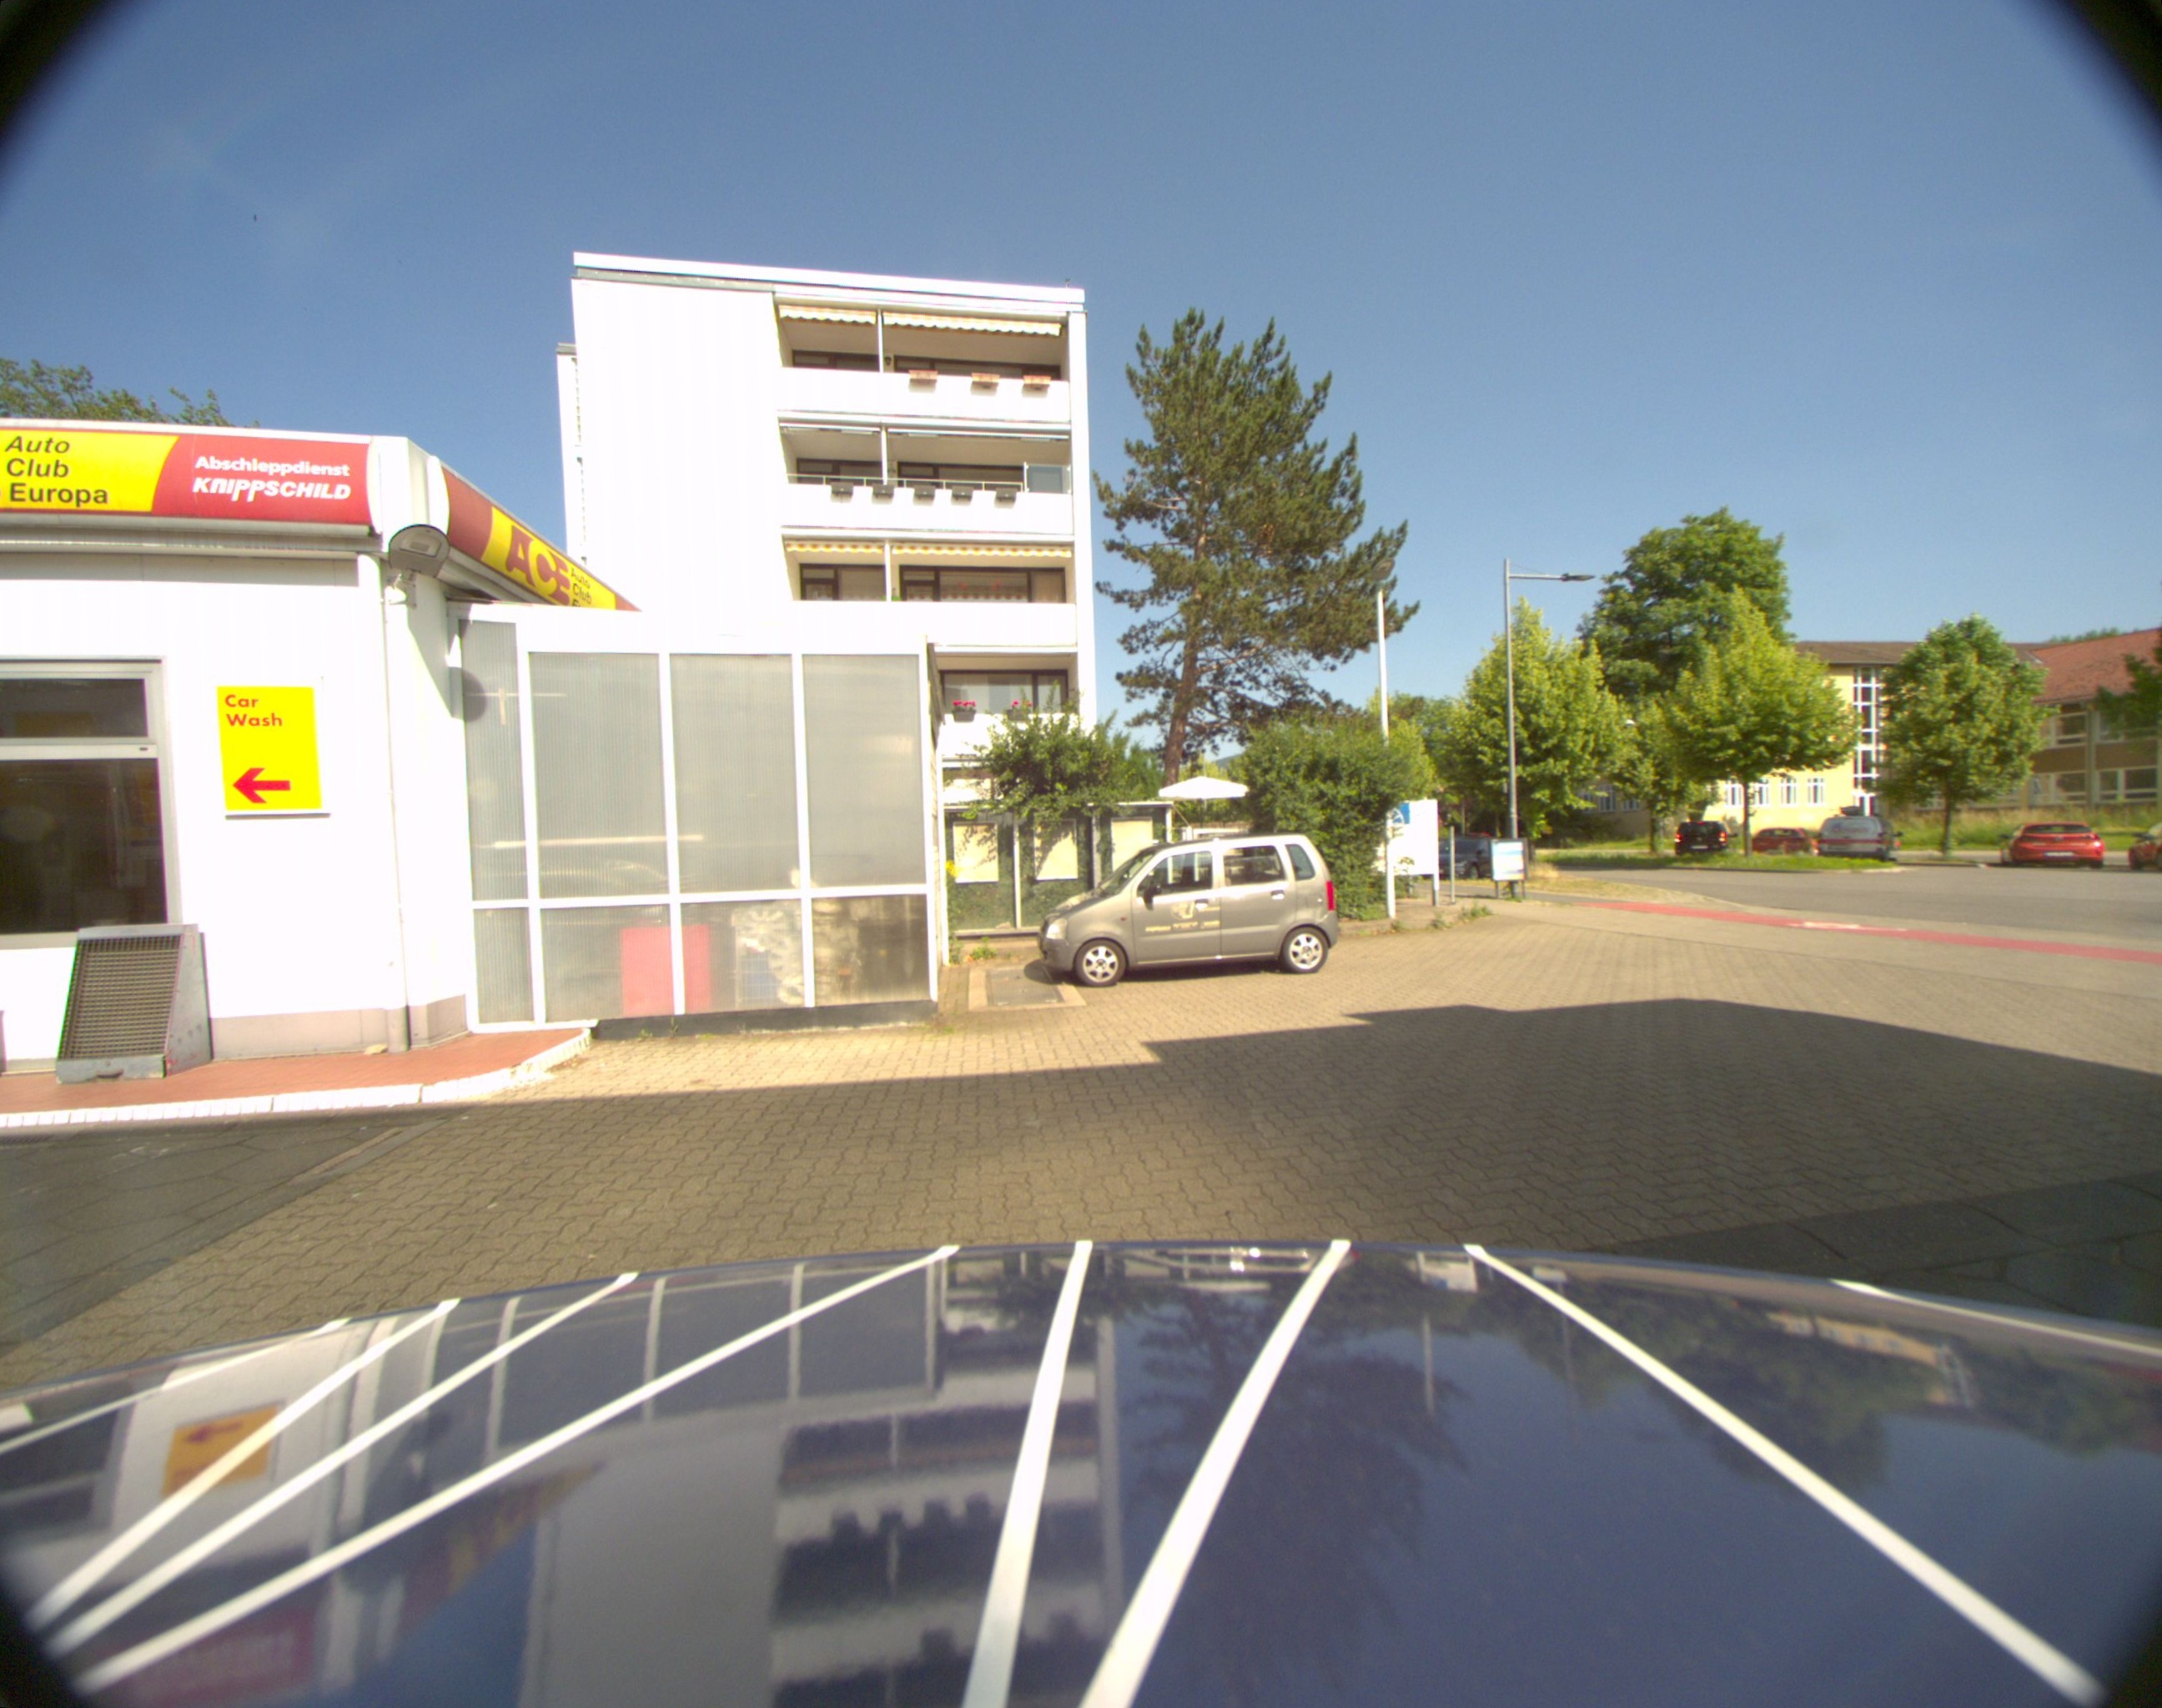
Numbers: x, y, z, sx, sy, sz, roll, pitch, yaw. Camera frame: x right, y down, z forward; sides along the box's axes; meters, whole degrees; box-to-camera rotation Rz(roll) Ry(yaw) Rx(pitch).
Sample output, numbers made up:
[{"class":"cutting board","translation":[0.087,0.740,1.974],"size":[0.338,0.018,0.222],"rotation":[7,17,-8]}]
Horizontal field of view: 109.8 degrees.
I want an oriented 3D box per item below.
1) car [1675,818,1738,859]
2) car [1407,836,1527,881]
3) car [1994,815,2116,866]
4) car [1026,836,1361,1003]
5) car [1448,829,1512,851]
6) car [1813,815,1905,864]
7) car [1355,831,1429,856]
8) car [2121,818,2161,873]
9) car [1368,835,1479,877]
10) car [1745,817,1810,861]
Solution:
[{"class":"car","translation":[28.051,-0.693,34.037],"size":[1.875,1.713,4.234],"rotation":[2,2,43]},{"class":"car","translation":[13.268,0.105,26.052],"size":[4.233,1.409,1.876],"rotation":[-1,1,-35]},{"class":"car","translation":[30.332,-0.431,23.797],"size":[4.234,1.451,1.876],"rotation":[-1,2,-44]},{"class":"car","translation":[1.229,0.688,9.230],"size":[3.661,1.608,1.691],"rotation":[-3,2,-6]},{"class":"car","translation":[26.420,-0.920,50.334],"size":[3.732,1.383,1.877],"rotation":[-1,2,-26]},{"class":"car","translation":[29.525,-0.564,28.820],"size":[4.234,1.713,1.876],"rotation":[-1,2,-37]},{"class":"car","translation":[21.024,-0.727,51.702],"size":[2.000,1.602,5.653],"rotation":[0,1,-9]},{"class":"car","translation":[30.805,-0.246,21.068],"size":[4.234,1.451,1.736],"rotation":[-1,1,-44]},{"class":"car","translation":[12.991,0.018,28.752],"size":[4.233,1.473,1.876],"rotation":[-1,1,-35]},{"class":"car","translation":[29.029,-0.634,31.667],"size":[1.875,1.713,4.234],"rotation":[2,2,43]}]
